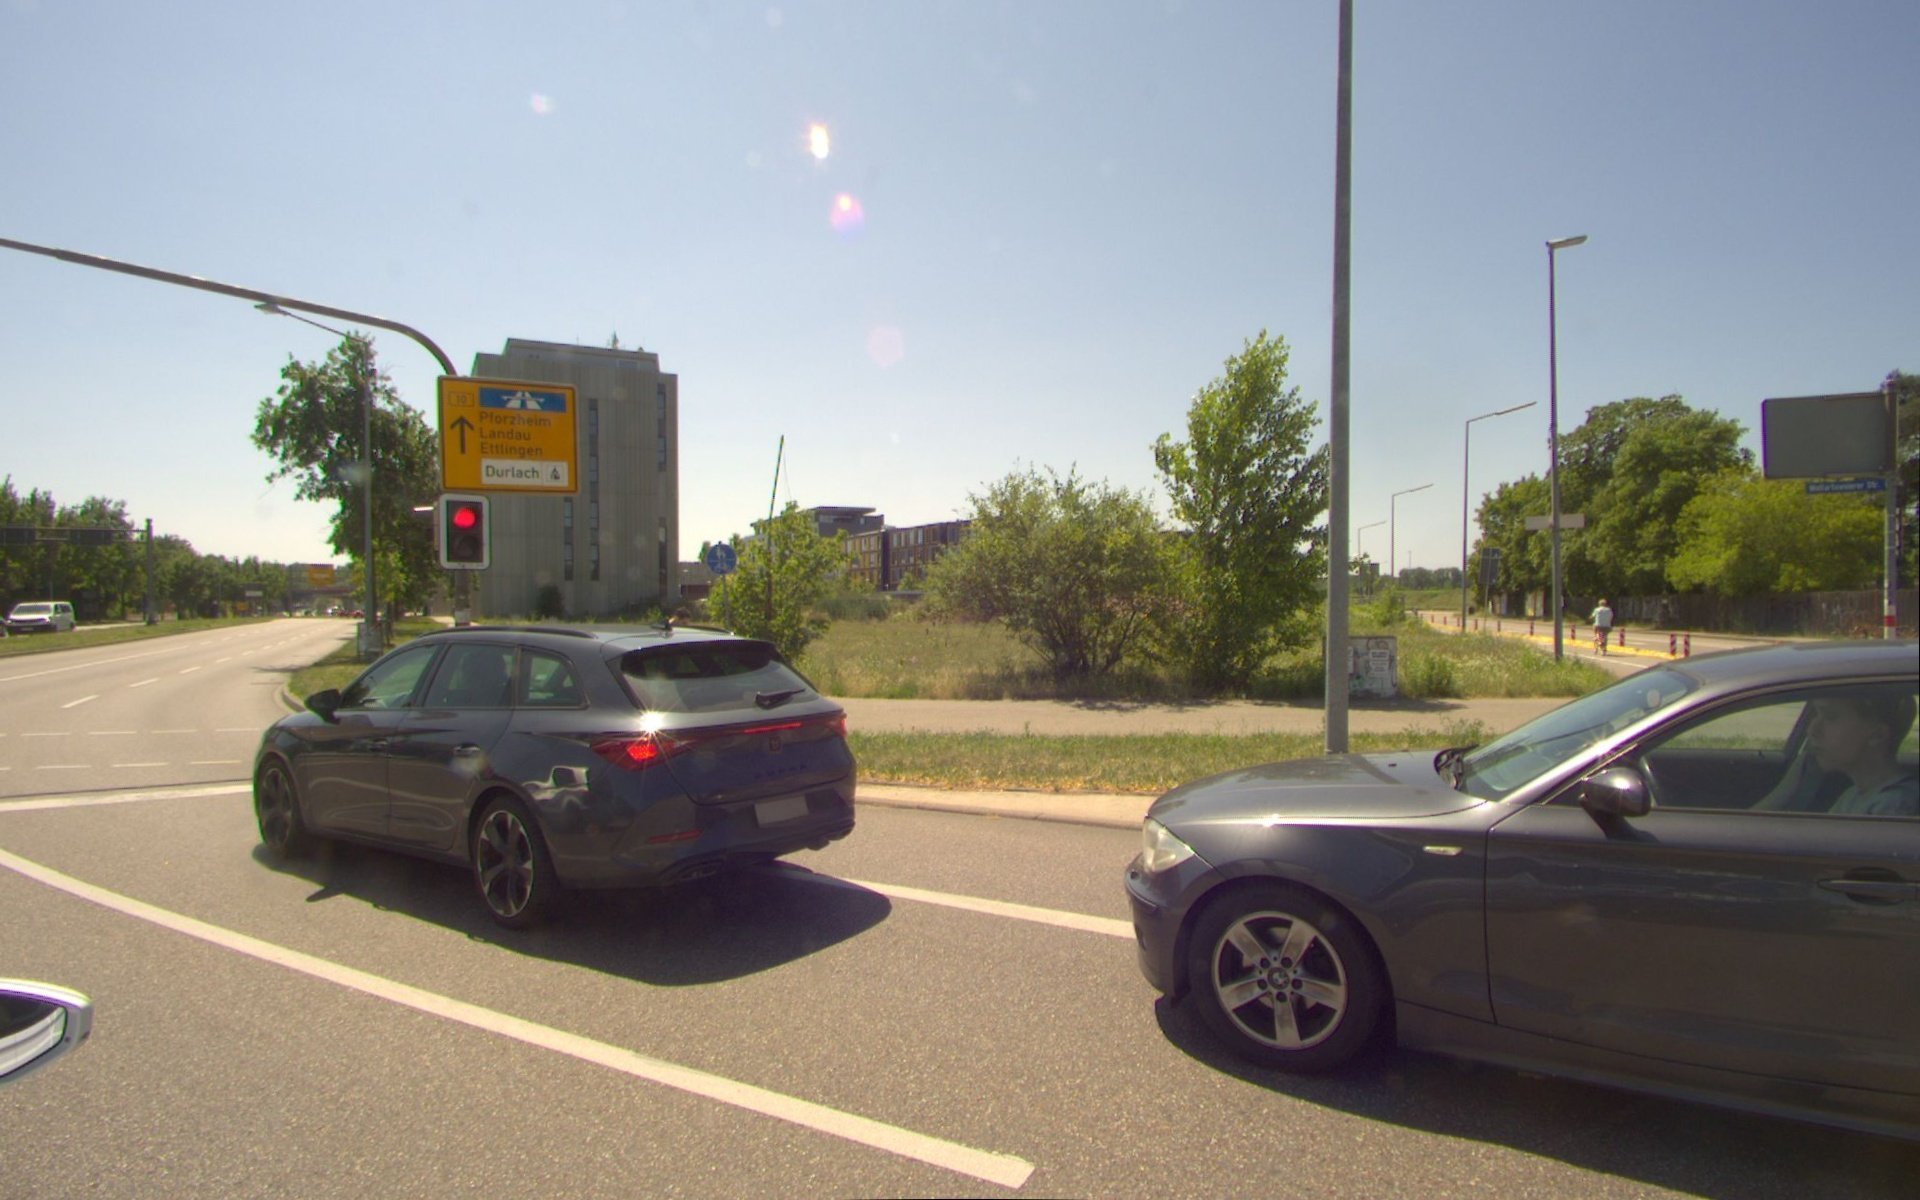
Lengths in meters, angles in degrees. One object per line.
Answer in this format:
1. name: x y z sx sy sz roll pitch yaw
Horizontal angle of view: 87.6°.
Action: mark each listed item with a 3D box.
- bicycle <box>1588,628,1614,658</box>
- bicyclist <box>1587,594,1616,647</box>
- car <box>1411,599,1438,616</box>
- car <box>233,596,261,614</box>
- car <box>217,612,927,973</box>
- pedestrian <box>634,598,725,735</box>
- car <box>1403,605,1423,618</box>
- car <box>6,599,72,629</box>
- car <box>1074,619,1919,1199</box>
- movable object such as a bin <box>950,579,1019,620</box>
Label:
1. bicycle: 20.412 1.353 31.878 0.620 0.891 1.864 0 0 35
2. bicyclist: 20.415 0.633 31.868 0.738 1.662 1.156 1 0 35
3. car: 42.059 0.683 90.736 1.728 1.565 3.689 0 0 16
4. car: -73.969 0.533 103.905 1.780 1.714 4.123 -2 0 -28
5. car: -2.540 0.806 6.147 4.395 1.437 1.988 0 0 35
6. pedestrian: -3.606 0.825 12.839 0.942 1.659 0.753 -2 1 -29
7. car: 55.875 1.412 123.486 1.728 1.565 3.689 0 0 16
8. car: -50.615 0.765 55.097 1.842 1.575 3.979 0 0 -30
9. car: 2.572 0.791 3.289 4.020 1.421 1.745 0 -1 31
10. movable object such as a bin: 2.145 -0.046 83.733 2.770 3.190 7.577 -1 0 26
